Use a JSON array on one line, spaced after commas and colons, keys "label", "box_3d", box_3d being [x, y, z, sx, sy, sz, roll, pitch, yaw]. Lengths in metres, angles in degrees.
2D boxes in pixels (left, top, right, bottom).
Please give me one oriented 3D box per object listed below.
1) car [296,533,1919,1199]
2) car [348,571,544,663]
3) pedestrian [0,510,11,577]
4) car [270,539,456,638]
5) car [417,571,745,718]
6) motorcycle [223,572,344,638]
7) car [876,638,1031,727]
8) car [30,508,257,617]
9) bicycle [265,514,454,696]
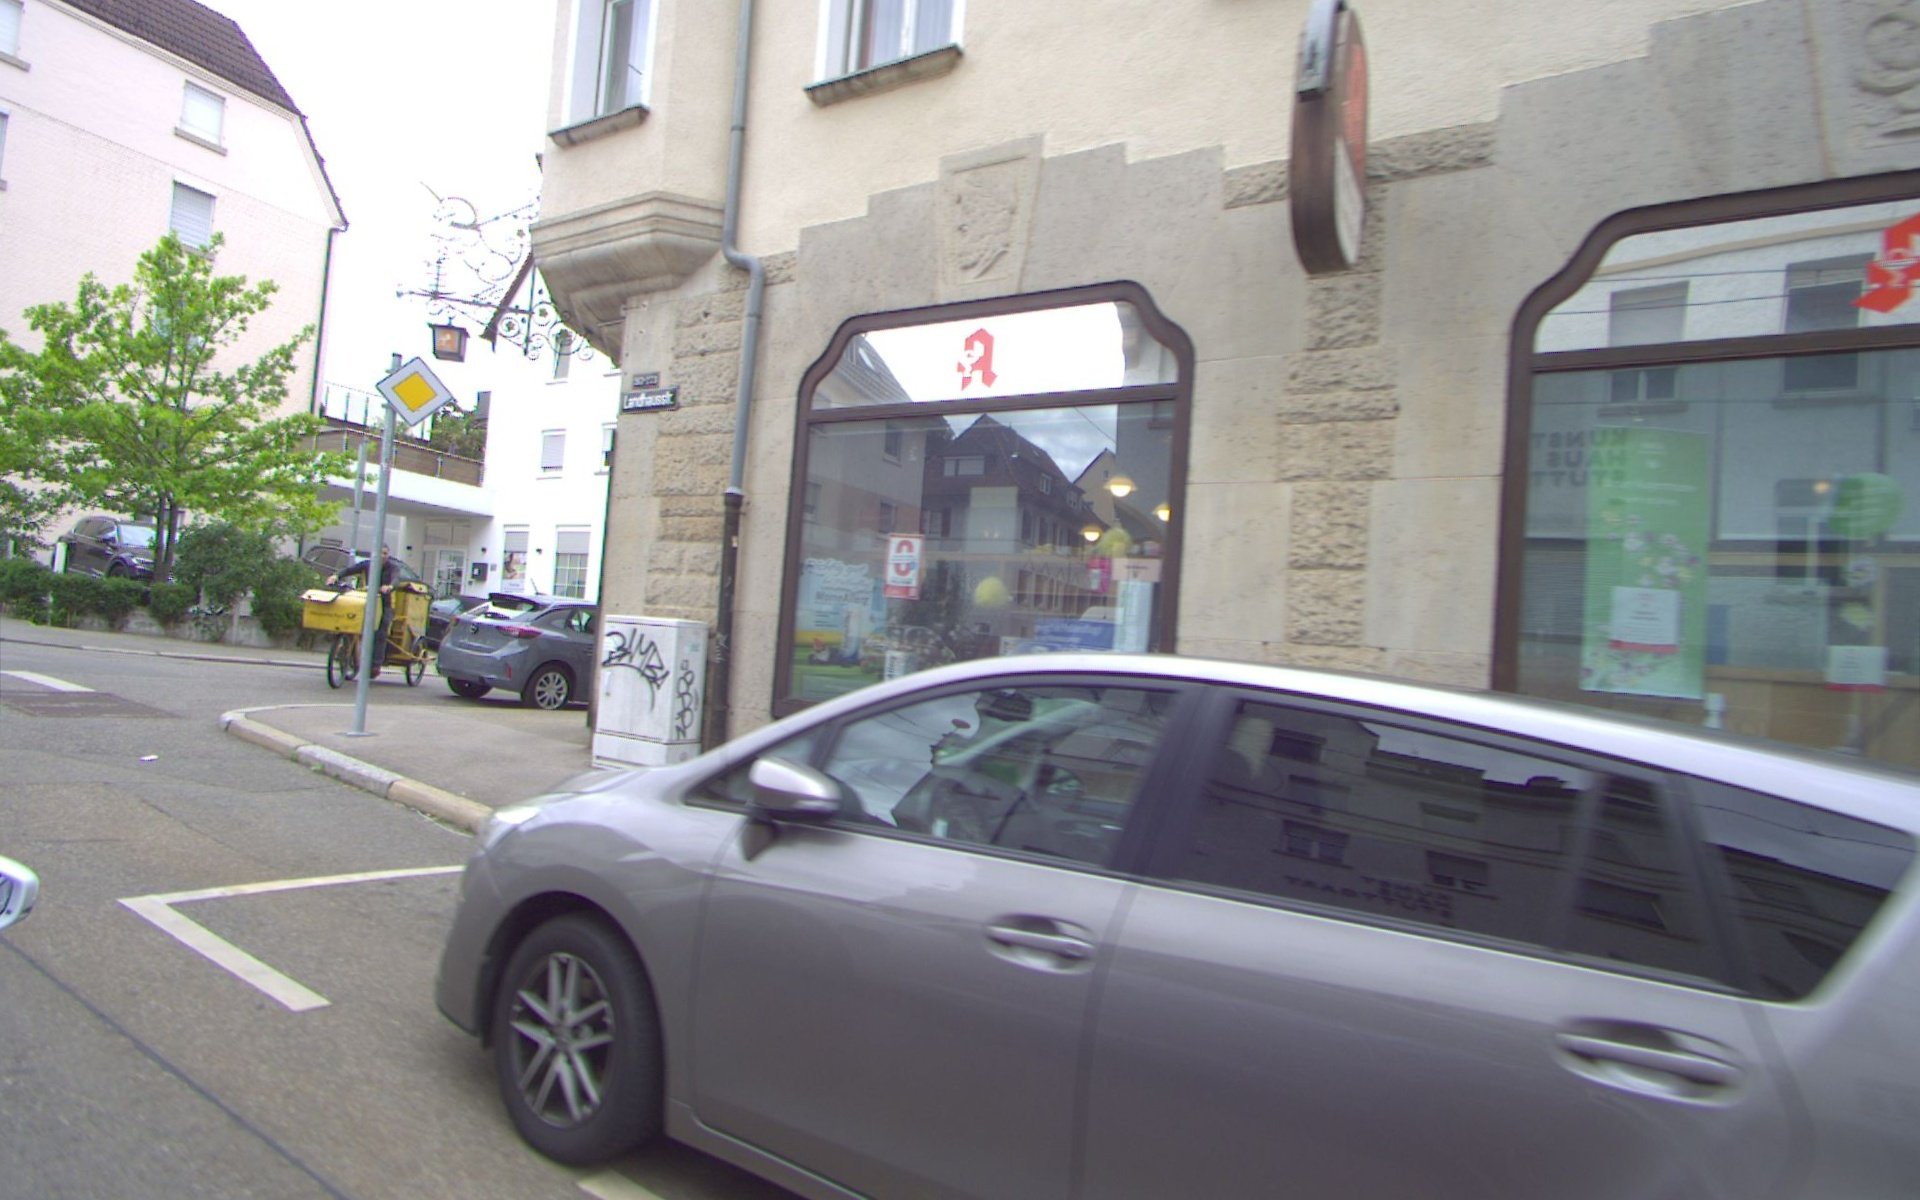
[{"label": "car", "box_3d": [0.344, 0.892, 2.900, 4.496, 1.553, 1.741, 7, -4, 29]}, {"label": "car", "box_3d": [-11.854, 0.386, 23.174, 4.252, 1.369, 1.915, 8, -2, 30]}, {"label": "pedestrian", "box_3d": [-23.335, -1.399, 24.115, 0.674, 1.600, 0.559, 7, -1, 32]}, {"label": "car", "box_3d": [-15.571, -0.316, 26.202, 4.624, 1.933, 1.998, 6, -2, 30]}, {"label": "car", "box_3d": [-4.826, 0.690, 13.369, 1.553, 1.480, 3.859, 7, -3, 29]}, {"label": "motorcycle", "box_3d": [-13.121, 0.085, 19.501, 2.345, 1.116, 0.930, 2, -5, 30]}, {"label": "car", "box_3d": [-0.037, 1.891, 22.405, 1.553, 1.598, 3.987, 7, -3, 29]}, {"label": "car", "box_3d": [-17.700, -0.825, 21.766, 5.008, 1.702, 1.999, 7, -2, 30]}, {"label": "bicycle", "box_3d": [-7.360, 0.127, 12.567, 1.165, 1.886, 2.723, 8, -4, -16]}]
